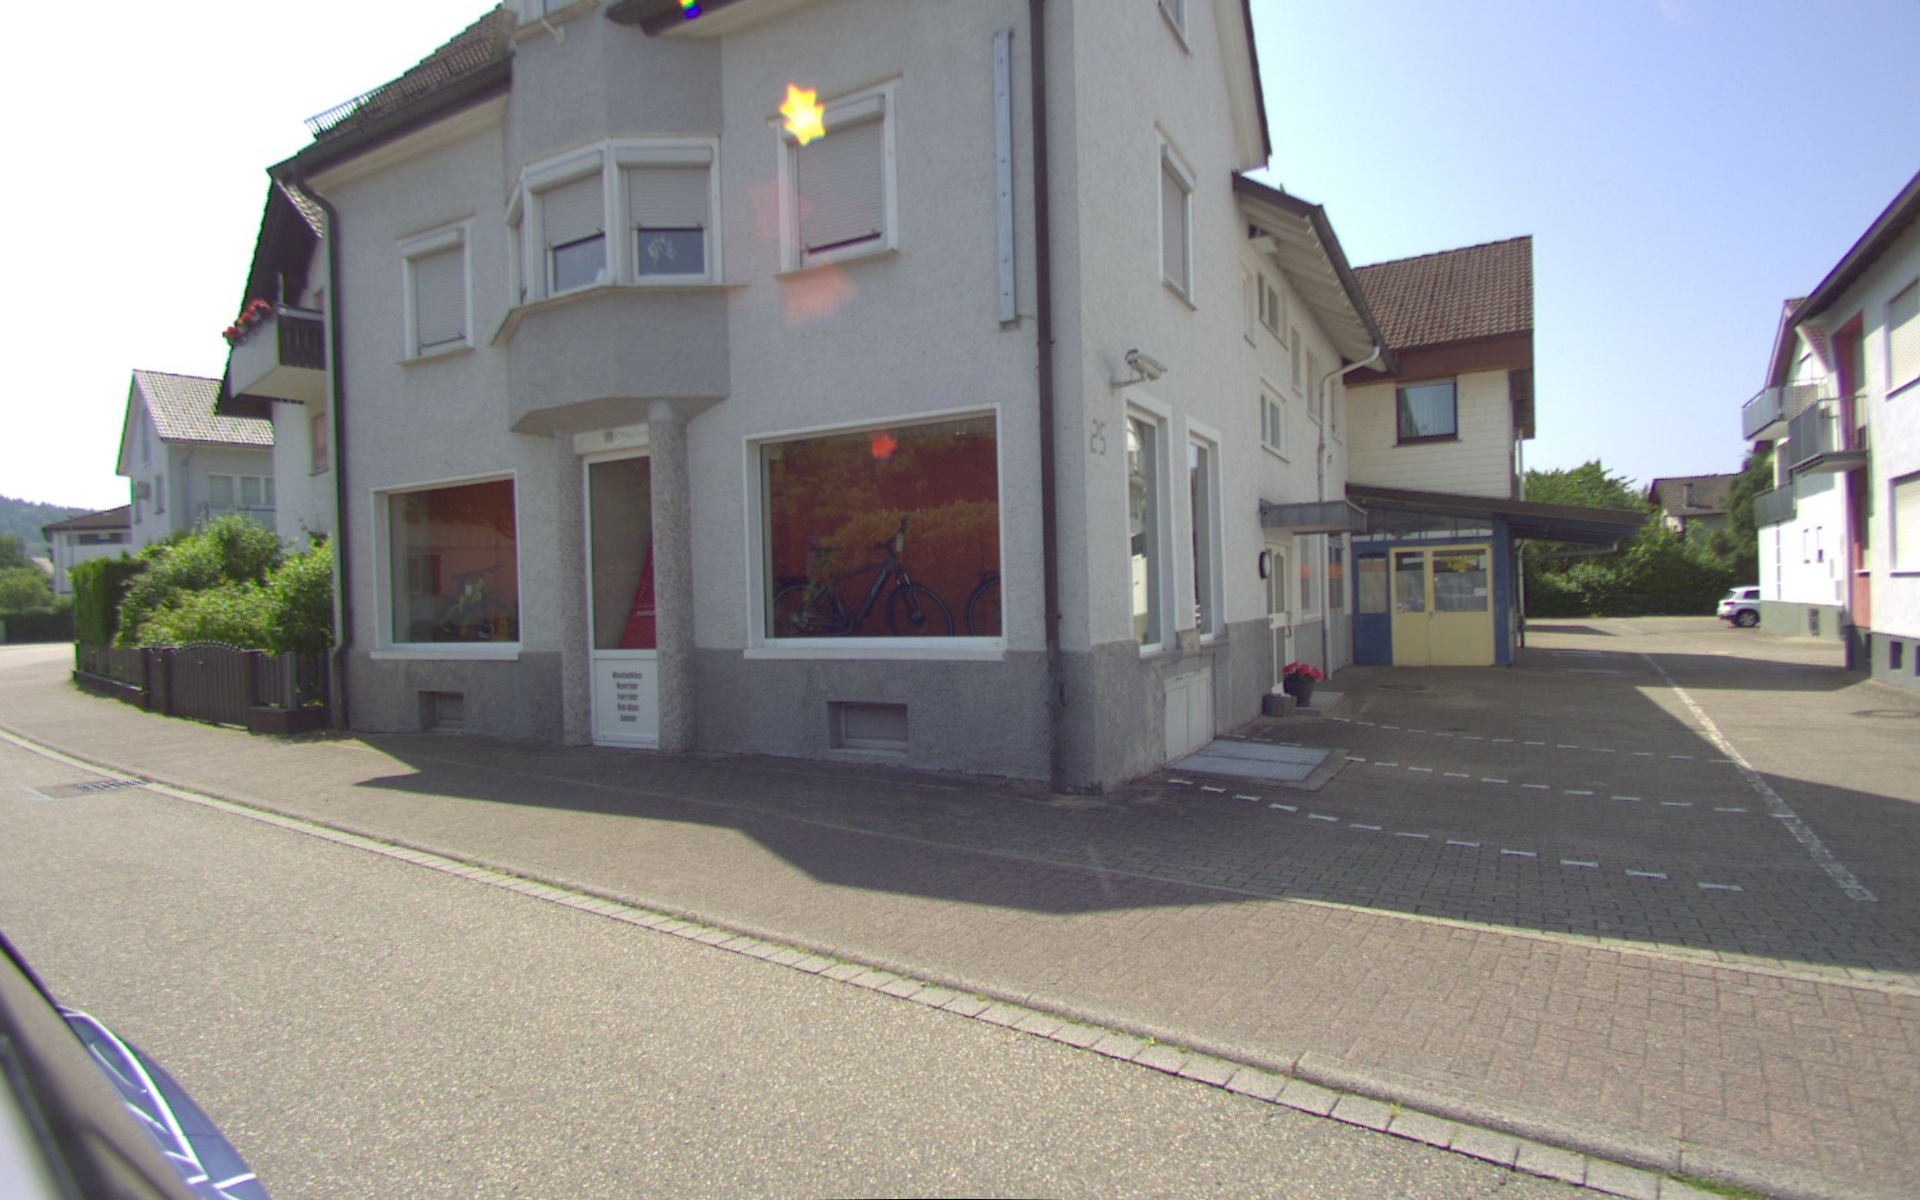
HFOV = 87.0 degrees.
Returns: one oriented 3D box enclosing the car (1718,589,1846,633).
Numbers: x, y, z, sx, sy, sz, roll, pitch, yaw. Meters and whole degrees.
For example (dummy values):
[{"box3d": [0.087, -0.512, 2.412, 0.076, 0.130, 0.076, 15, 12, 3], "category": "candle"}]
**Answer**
[{"box3d": [33.791, 0.452, 41.716, 3.996, 1.714, 1.974, -2, -1, 40], "category": "car"}]
